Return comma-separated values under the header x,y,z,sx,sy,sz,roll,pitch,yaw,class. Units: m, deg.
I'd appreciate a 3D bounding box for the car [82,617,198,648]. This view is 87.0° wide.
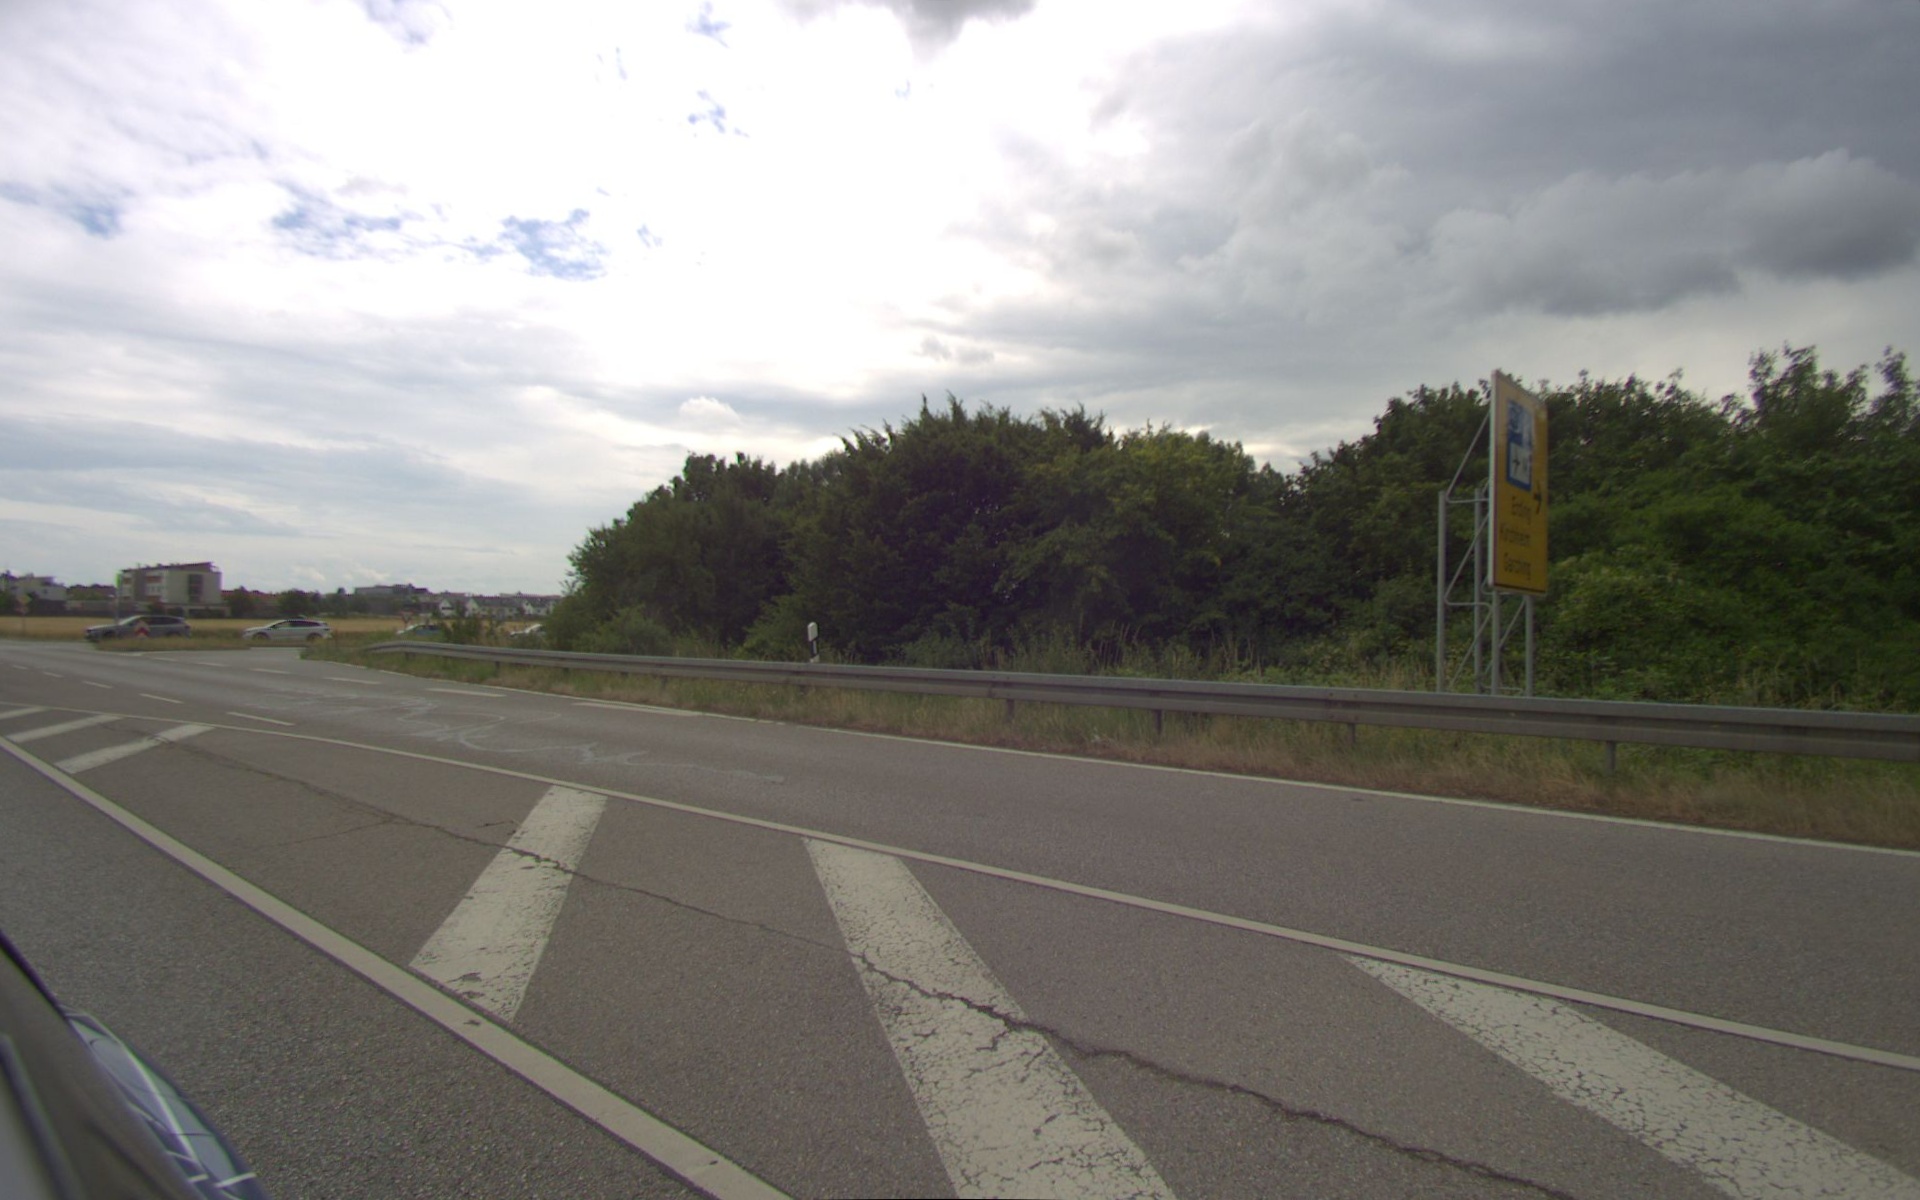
x,y,z,sx,sy,sz,roll,pitch,yaw,class
-46.411,1.811,57.345,1.996,1.702,4.758,-1,-2,36,car

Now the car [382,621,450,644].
x,y,z,sx,sy,sz,roll,pitch,yaw,class
-36.163,2.124,67.323,3.662,1.510,1.732,1,-2,-42,car

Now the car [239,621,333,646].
x,y,z,sx,sy,sz,roll,pitch,yaw,class
-41.512,2.030,62.401,4.607,1.510,2.002,1,-2,-42,car

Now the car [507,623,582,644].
x,y,z,sx,sy,sz,roll,pitch,yaw,class
-30.012,2.397,73.096,4.607,1.510,2.002,1,-2,-42,car
